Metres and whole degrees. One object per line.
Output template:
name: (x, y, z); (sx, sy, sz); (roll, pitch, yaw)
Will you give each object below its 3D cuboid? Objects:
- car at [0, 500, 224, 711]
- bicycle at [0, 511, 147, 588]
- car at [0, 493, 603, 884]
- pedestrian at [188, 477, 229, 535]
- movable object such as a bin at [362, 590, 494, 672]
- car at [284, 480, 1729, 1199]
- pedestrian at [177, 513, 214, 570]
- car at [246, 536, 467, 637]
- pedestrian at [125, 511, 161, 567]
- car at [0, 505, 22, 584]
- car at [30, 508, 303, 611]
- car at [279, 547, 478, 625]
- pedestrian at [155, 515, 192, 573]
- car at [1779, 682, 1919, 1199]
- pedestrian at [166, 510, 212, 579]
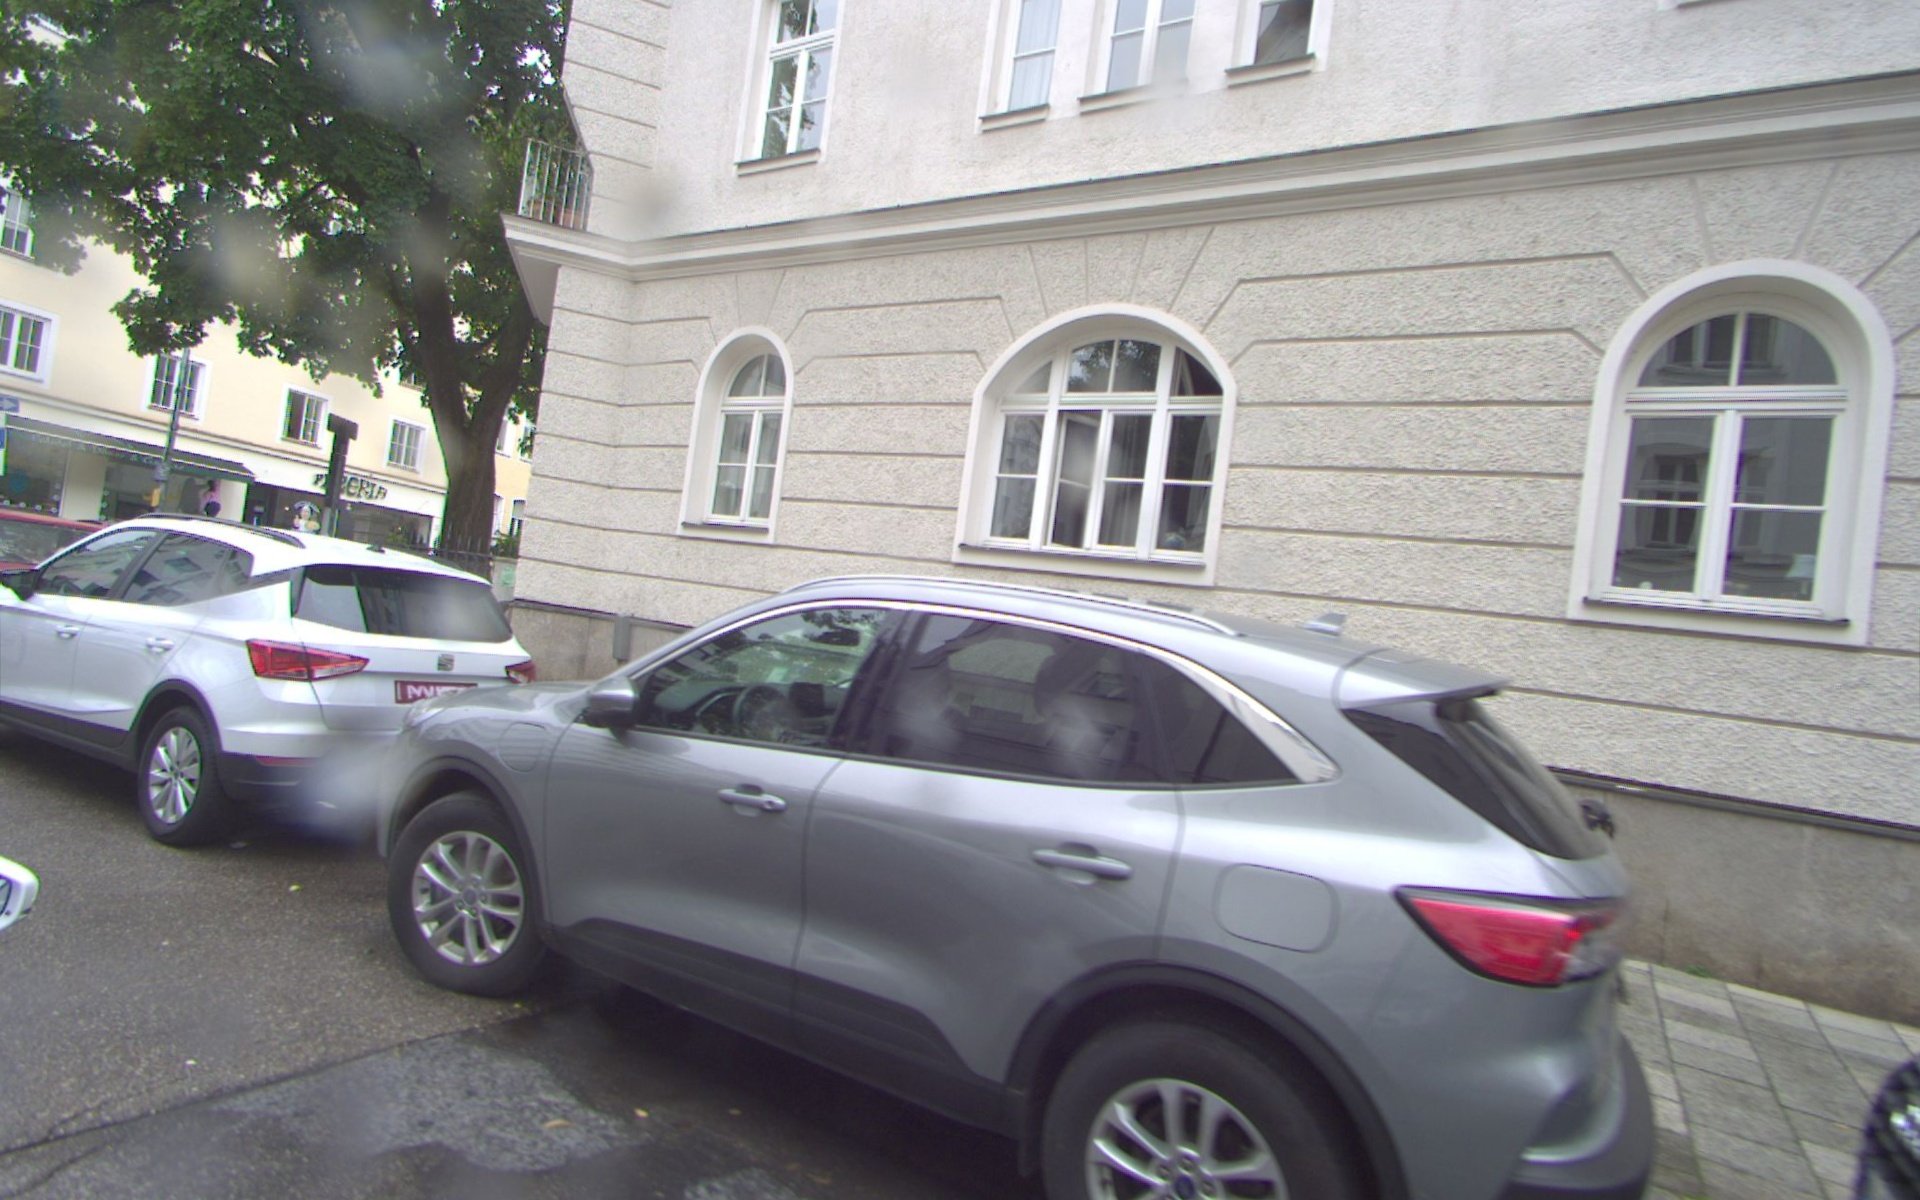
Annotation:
car: (-8.296, -0.132, 8.520); (4.142, 1.451, 1.674); (7, -2, 30)
bicycle: (-19.497, -1.084, 22.158); (1.086, 1.267, 2.091); (8, -2, 22)
car: (-4.268, 0.337, 5.958); (3.841, 1.513, 1.756); (7, -2, 27)
pedestrian: (-22.477, -2.819, 30.096); (0.567, 1.592, 0.554); (7, -2, 21)
movable object such as a bin: (-6.812, 0.398, 12.905); (1.198, 0.854, 0.902); (7, -1, 28)
car: (-0.211, 0.706, 3.624); (4.351, 1.733, 1.794); (7, -1, 30)
pedestrian: (-22.317, -1.703, 29.373); (0.525, 1.569, 0.435); (7, 0, 3)
car: (-11.919, -0.202, 20.083); (1.598, 1.504, 3.333); (8, -1, 23)
pedestrian: (-22.432, -1.664, 27.632); (0.507, 1.450, 0.579); (8, -1, -28)
car: (-19.588, -1.269, 17.765); (1.791, 1.431, 3.996); (3, -5, 31)
car: (-17.400, -0.810, 22.360); (1.787, 1.609, 4.354); (6, -3, 20)
car: (-15.309, -0.299, 26.800); (1.787, 1.519, 4.354); (5, -3, 20)
pedestrian: (-22.325, -1.592, 28.556); (0.551, 1.555, 0.431); (9, 0, -26)
car: (3.677, 1.199, 0.875); (4.303, 1.654, 1.781); (7, -3, 33)
pedestrian: (-20.469, -1.470, 26.714); (0.533, 1.722, 0.604); (9, 0, 22)
